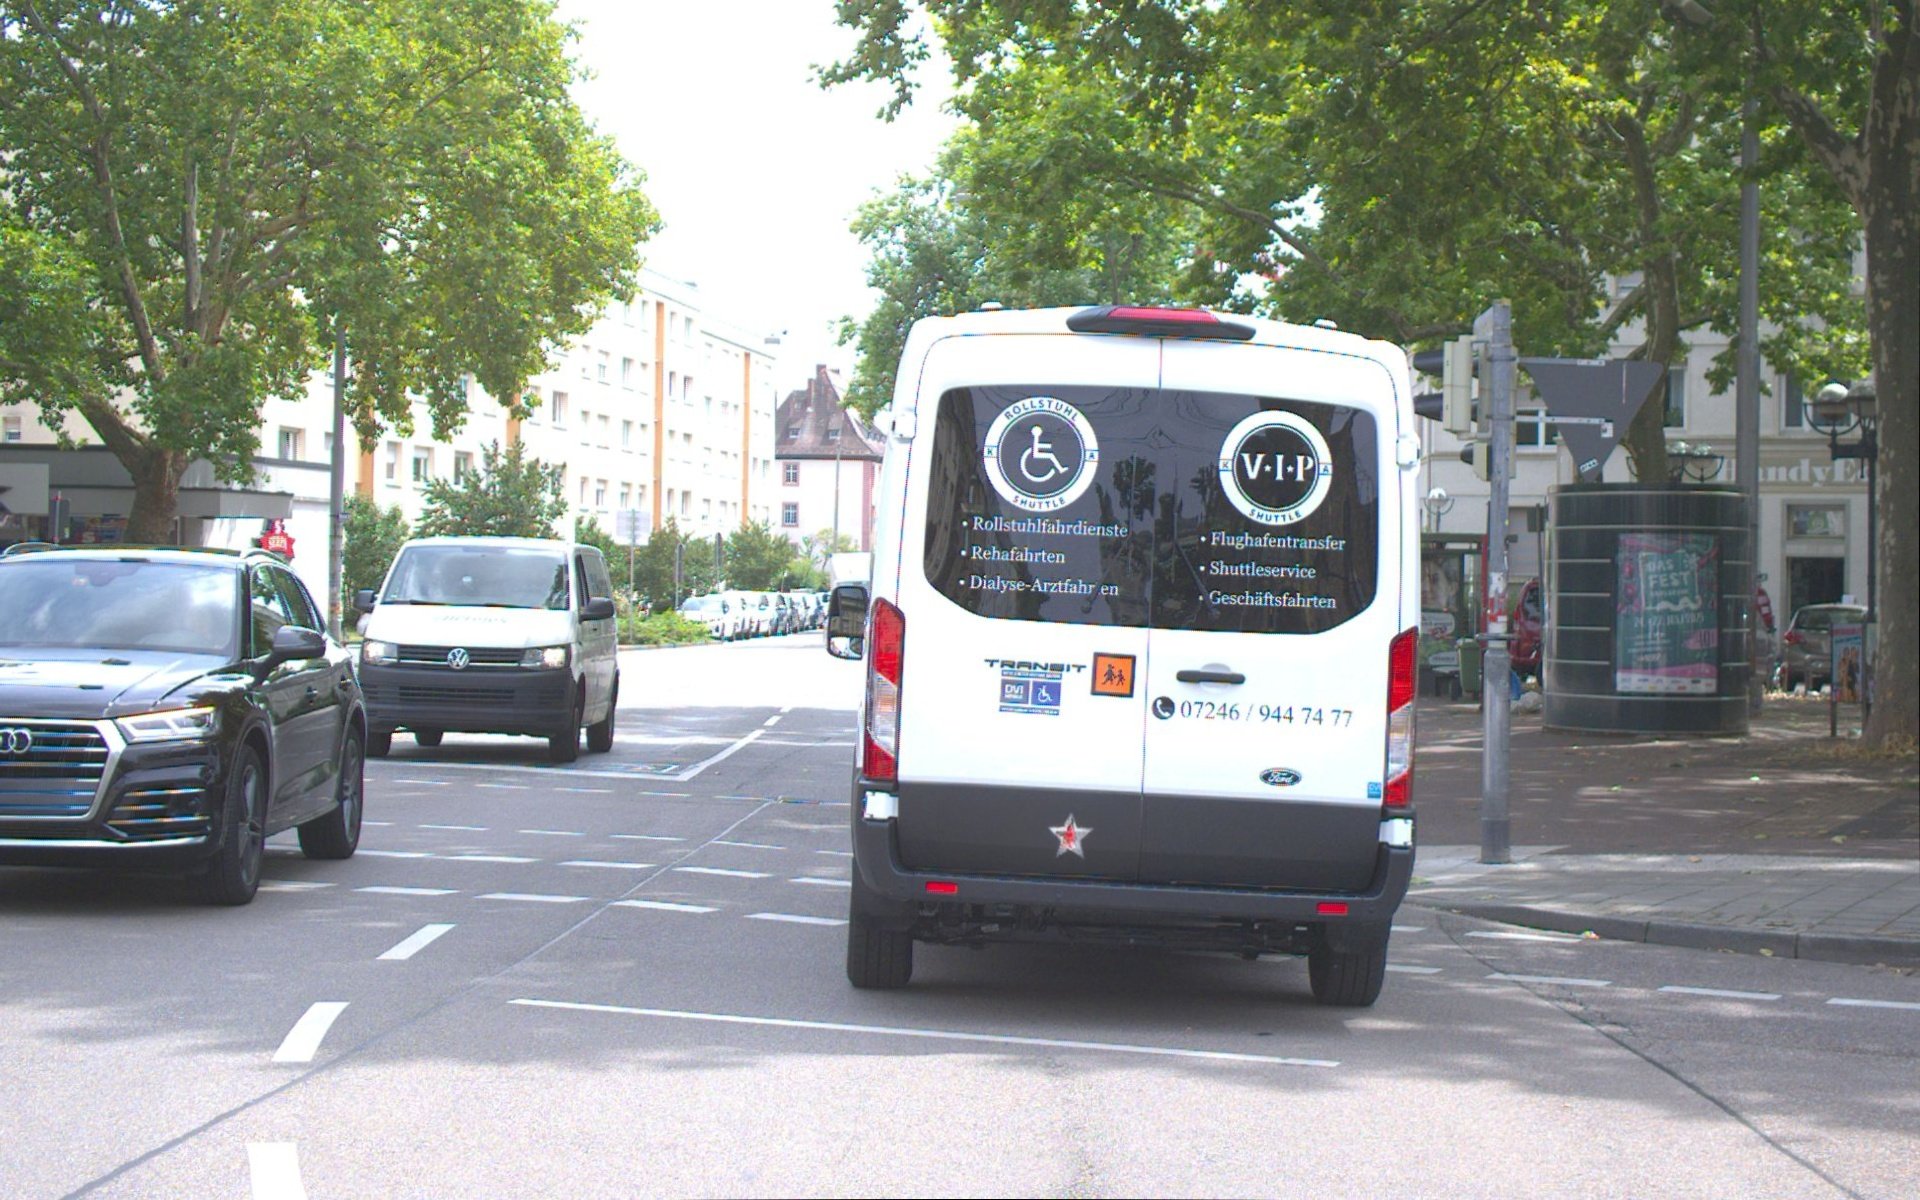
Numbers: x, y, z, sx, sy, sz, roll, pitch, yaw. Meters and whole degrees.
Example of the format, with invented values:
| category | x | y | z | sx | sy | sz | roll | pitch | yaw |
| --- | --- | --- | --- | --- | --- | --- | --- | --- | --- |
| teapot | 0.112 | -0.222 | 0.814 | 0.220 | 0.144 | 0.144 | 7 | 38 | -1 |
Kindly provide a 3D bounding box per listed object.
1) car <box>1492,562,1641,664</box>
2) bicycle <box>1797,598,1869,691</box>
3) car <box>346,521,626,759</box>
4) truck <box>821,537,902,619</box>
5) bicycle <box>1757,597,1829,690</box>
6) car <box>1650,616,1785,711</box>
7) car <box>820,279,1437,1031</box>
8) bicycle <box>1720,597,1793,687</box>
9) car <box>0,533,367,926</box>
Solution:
| category | x | y | z | sx | sy | sz | roll | pitch | yaw |
| --- | --- | --- | --- | --- | --- | --- | --- | --- | --- |
| car | 10.597 | 0.215 | 59.868 | 1.934 | 1.700 | 4.326 | 1 | 0 | 18 |
| bicycle | 13.449 | 0.666 | 52.922 | 0.419 | 1.373 | 2.307 | 1 | 1 | 31 |
| car | -4.164 | 0.299 | 30.915 | 1.923 | 1.930 | 4.948 | 1 | 1 | -2 |
| truck | -3.811 | -0.850 | 134.917 | 2.541 | 3.097 | 7.019 | -1 | 0 | 3 |
| bicycle | 12.897 | 0.662 | 53.215 | 0.419 | 1.373 | 2.307 | 1 | 1 | 31 |
| car | 13.130 | 1.064 | 59.444 | 1.829 | 1.547 | 3.996 | 0 | 0 | 19 |
| car | 0.623 | 0.209 | 14.010 | 2.070 | 2.532 | 4.634 | 1 | -1 | 1 |
| bicycle | 12.447 | 0.646 | 53.665 | 0.419 | 1.373 | 2.307 | 1 | 0 | 31 |
| car | -4.143 | 0.508 | 16.757 | 1.822 | 1.642 | 4.428 | 1 | 1 | -2 |
